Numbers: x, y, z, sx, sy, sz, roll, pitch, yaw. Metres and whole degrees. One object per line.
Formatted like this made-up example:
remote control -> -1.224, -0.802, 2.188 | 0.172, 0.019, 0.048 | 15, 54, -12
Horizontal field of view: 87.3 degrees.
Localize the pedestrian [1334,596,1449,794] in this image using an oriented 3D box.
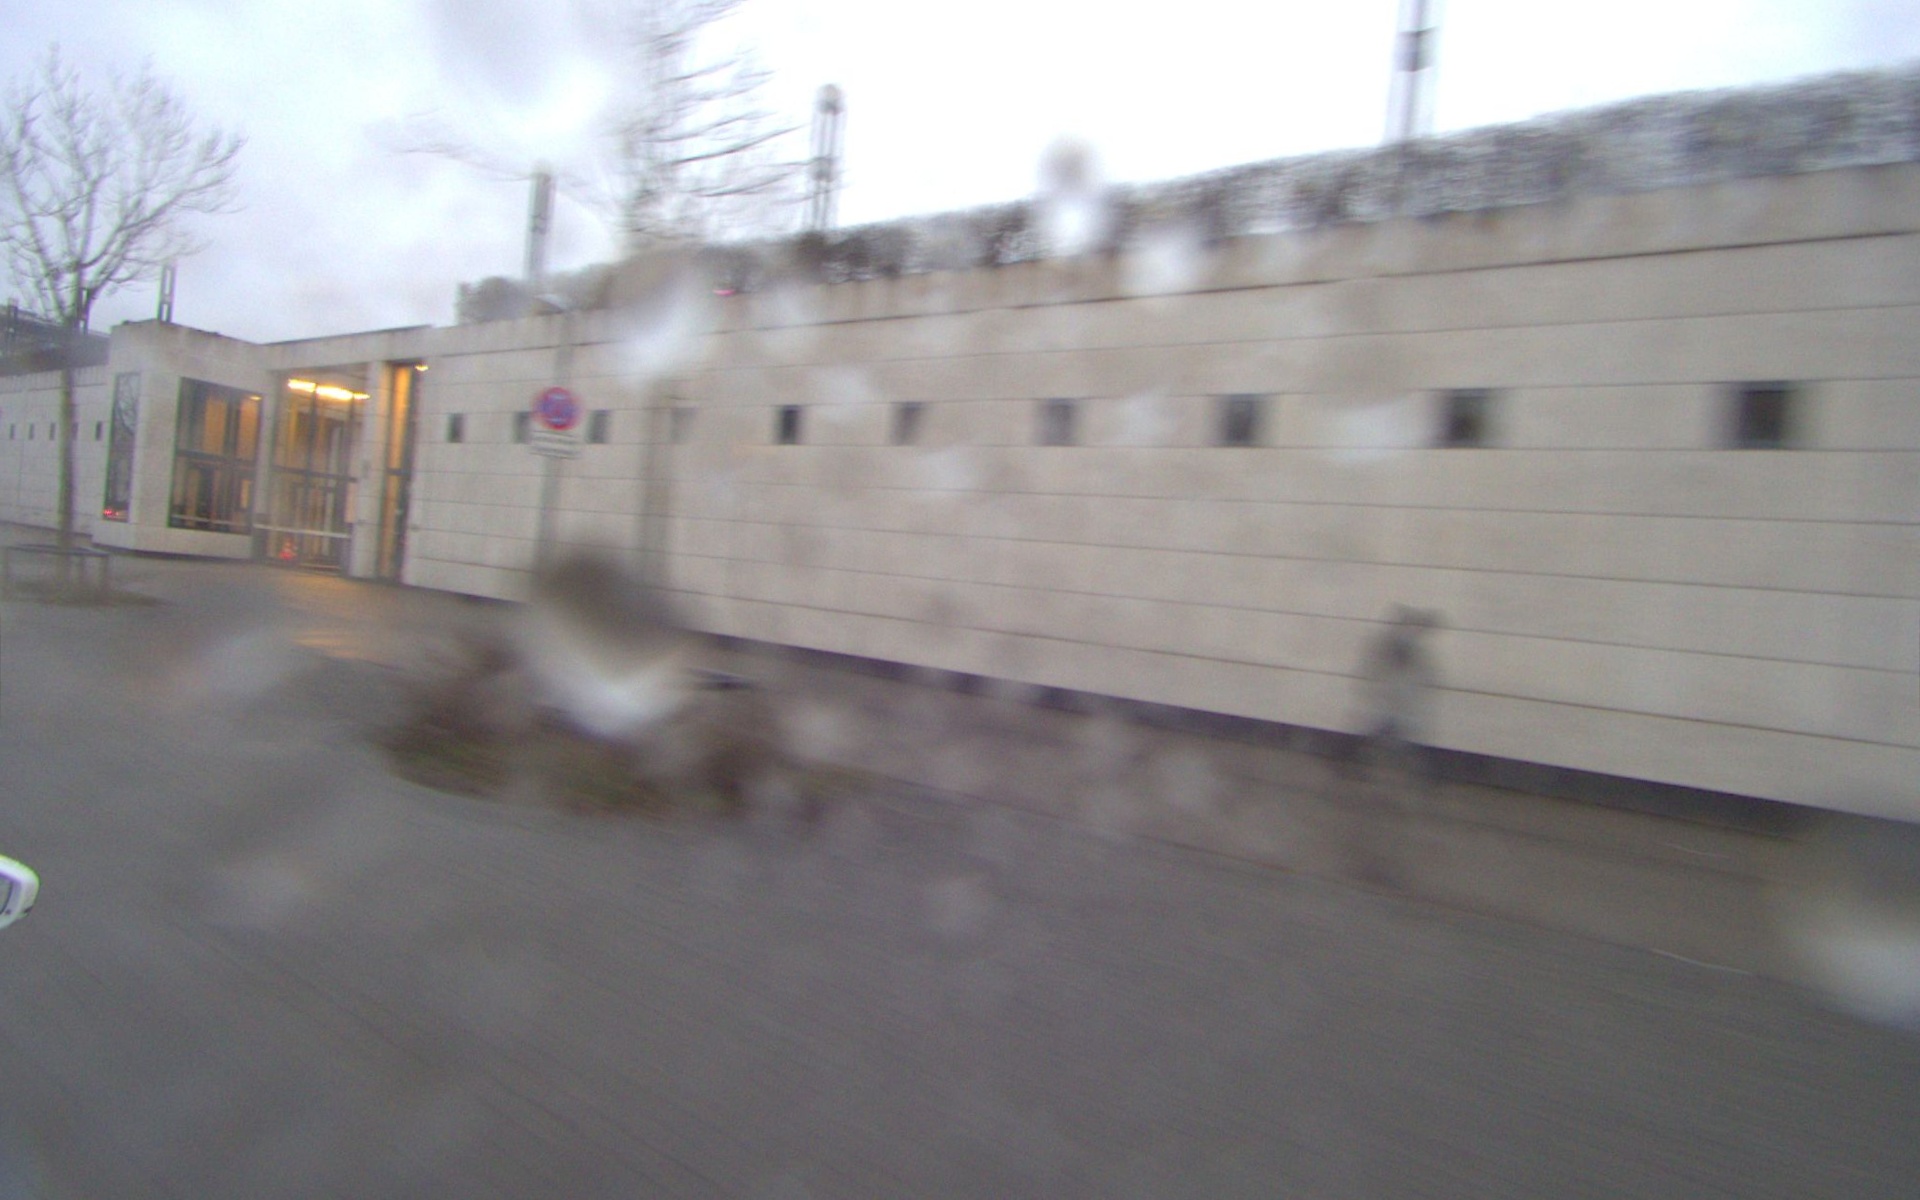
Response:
pedestrian -> 3.939, 0.838, 9.164 | 0.683, 1.639, 0.938 | 7, 2, 31
